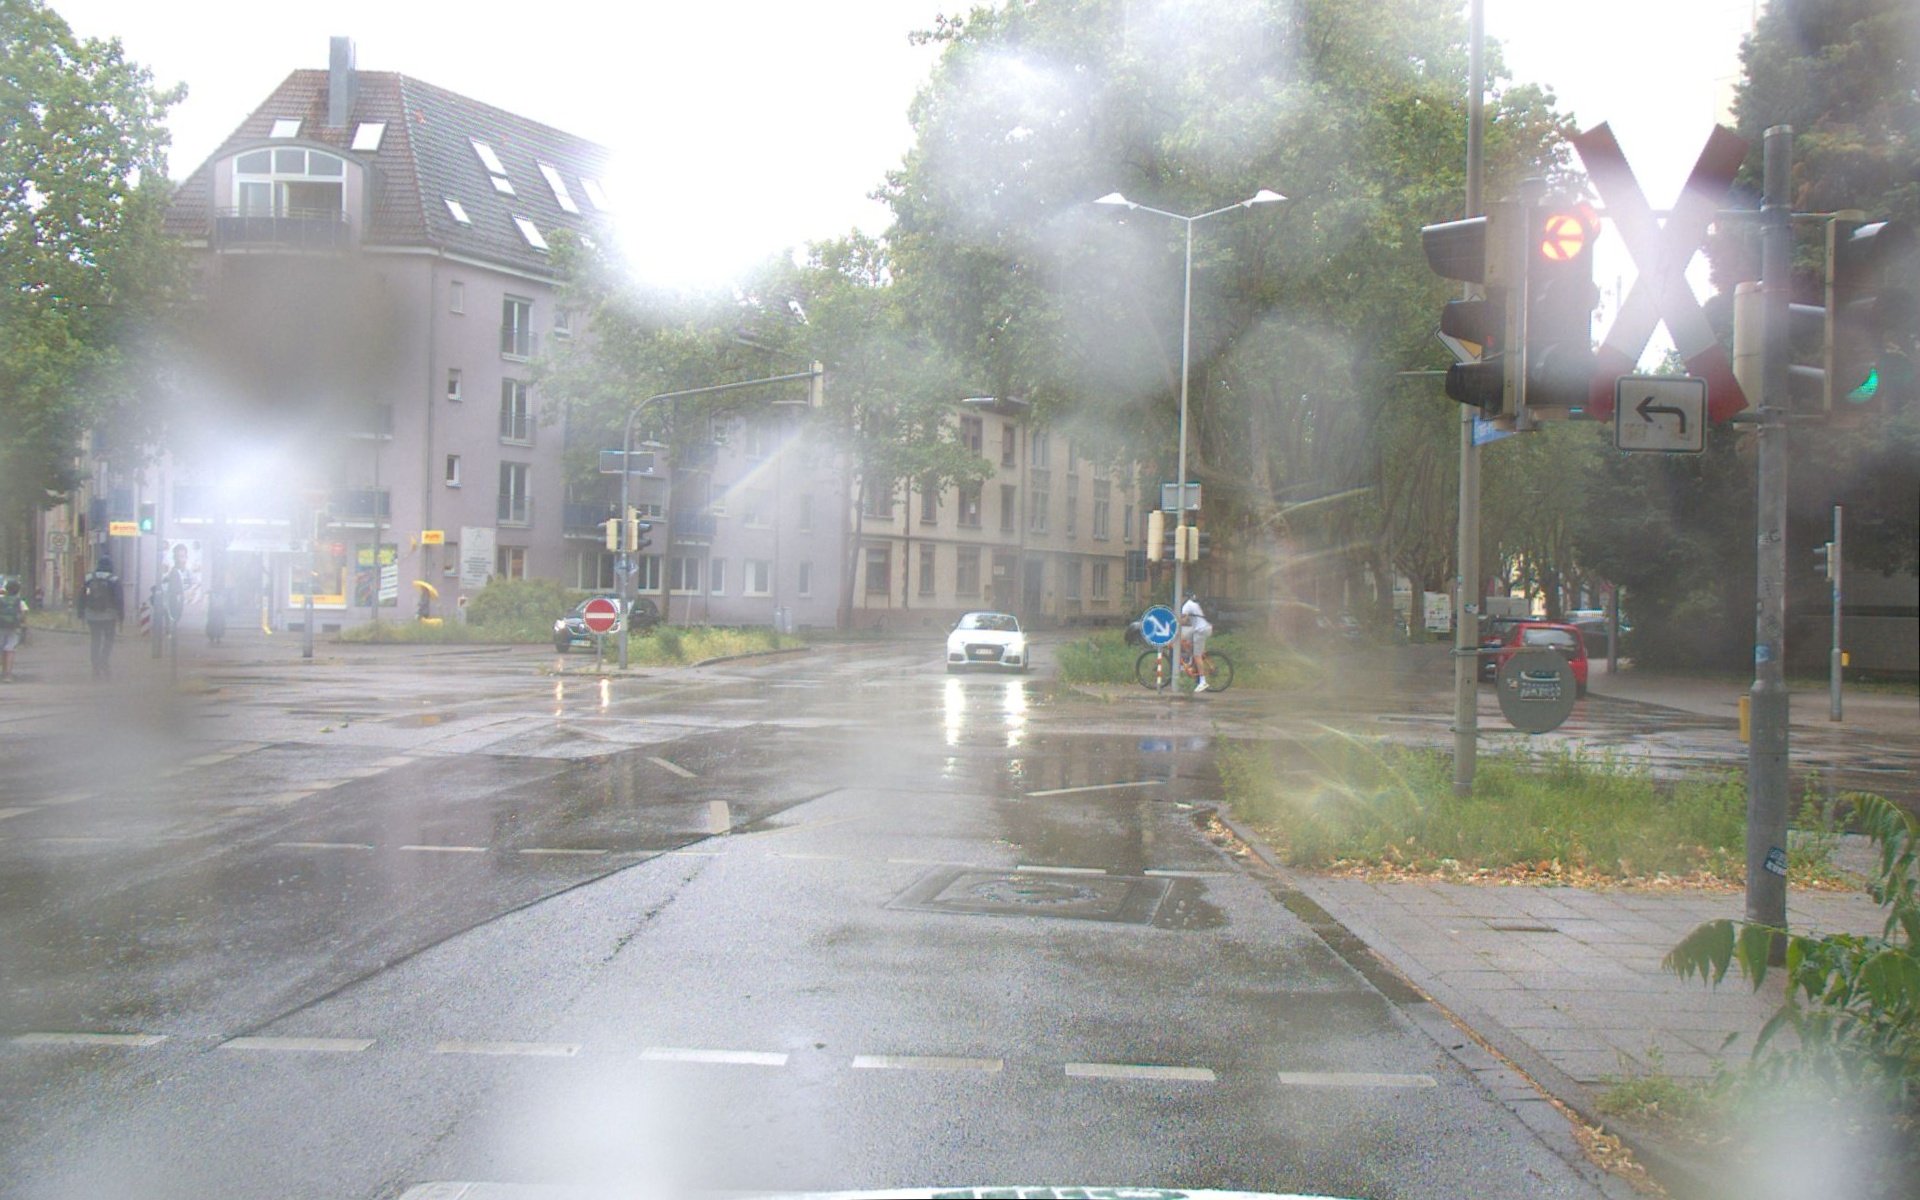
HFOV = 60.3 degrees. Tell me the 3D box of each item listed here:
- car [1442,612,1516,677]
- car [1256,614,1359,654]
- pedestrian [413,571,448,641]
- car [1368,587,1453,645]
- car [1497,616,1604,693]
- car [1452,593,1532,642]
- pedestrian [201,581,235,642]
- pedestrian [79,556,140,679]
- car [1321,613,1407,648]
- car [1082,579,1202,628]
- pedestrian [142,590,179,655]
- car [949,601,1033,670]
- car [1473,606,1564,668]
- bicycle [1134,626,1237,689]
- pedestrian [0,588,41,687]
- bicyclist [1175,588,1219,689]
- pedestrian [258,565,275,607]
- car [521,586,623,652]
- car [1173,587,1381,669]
[{"bbox_3d":[14.982,1.254,47.910,1.745,1.757,4.003,1,0,13],"label":"car"},{"bbox_3d":[13.778,1.329,65.669,3.902,1.512,2.002,1,0,12],"label":"car"},{"bbox_3d":[-16.680,0.189,52.078,0.897,2.188,0.879,1,-1,-27],"label":"pedestrian"},{"bbox_3d":[23.948,0.848,88.070,2.005,2.999,4.742,1,0,-21],"label":"car"},{"bbox_3d":[13.044,1.162,36.736,1.754,1.524,4.003,1,0,13],"label":"car"},{"bbox_3d":[33.664,1.085,104.813,1.974,2.999,4.720,1,0,-31],"label":"car"},{"bbox_3d":[-19.072,0.292,42.521,0.741,1.560,0.785,1,-1,-28],"label":"pedestrian"},{"bbox_3d":[-13.281,0.274,25.842,0.777,1.888,0.676,1,0,-25],"label":"pedestrian"},{"bbox_3d":[19.255,1.441,78.927,3.902,1.574,2.002,1,0,12],"label":"car"},{"bbox_3d":[6.045,0.117,54.683,3.784,1.512,1.717,1,0,12],"label":"car"},{"bbox_3d":[-20.476,0.565,42.373,0.662,1.628,0.964,1,-1,-16],"label":"pedestrian"},{"bbox_3d":[0.744,0.798,39.085,1.845,1.461,4.001,1,0,1],"label":"car"},{"bbox_3d":[13.889,0.877,41.306,1.745,1.371,3.932,2,1,13],"label":"car"},{"bbox_3d":[4.141,1.050,30.442,1.833,1.100,0.657,1,0,7],"label":"bicycle"},{"bbox_3d":[-13.845,0.534,24.174,0.643,1.420,0.773,1,0,-35],"label":"pedestrian"},{"bbox_3d":[4.354,0.695,30.421,0.778,1.817,0.697,1,-1,7],"label":"bicyclist"},{"bbox_3d":[-22.650,-0.464,54.021,0.437,1.353,0.559,1,-1,-18],"label":"pedestrian"},{"bbox_3d":[-9.633,0.446,41.346,1.716,1.538,3.838,1,0,-2],"label":"car"},{"bbox_3d":[6.278,0.535,32.793,3.902,1.512,2.002,1,0,12],"label":"car"}]
